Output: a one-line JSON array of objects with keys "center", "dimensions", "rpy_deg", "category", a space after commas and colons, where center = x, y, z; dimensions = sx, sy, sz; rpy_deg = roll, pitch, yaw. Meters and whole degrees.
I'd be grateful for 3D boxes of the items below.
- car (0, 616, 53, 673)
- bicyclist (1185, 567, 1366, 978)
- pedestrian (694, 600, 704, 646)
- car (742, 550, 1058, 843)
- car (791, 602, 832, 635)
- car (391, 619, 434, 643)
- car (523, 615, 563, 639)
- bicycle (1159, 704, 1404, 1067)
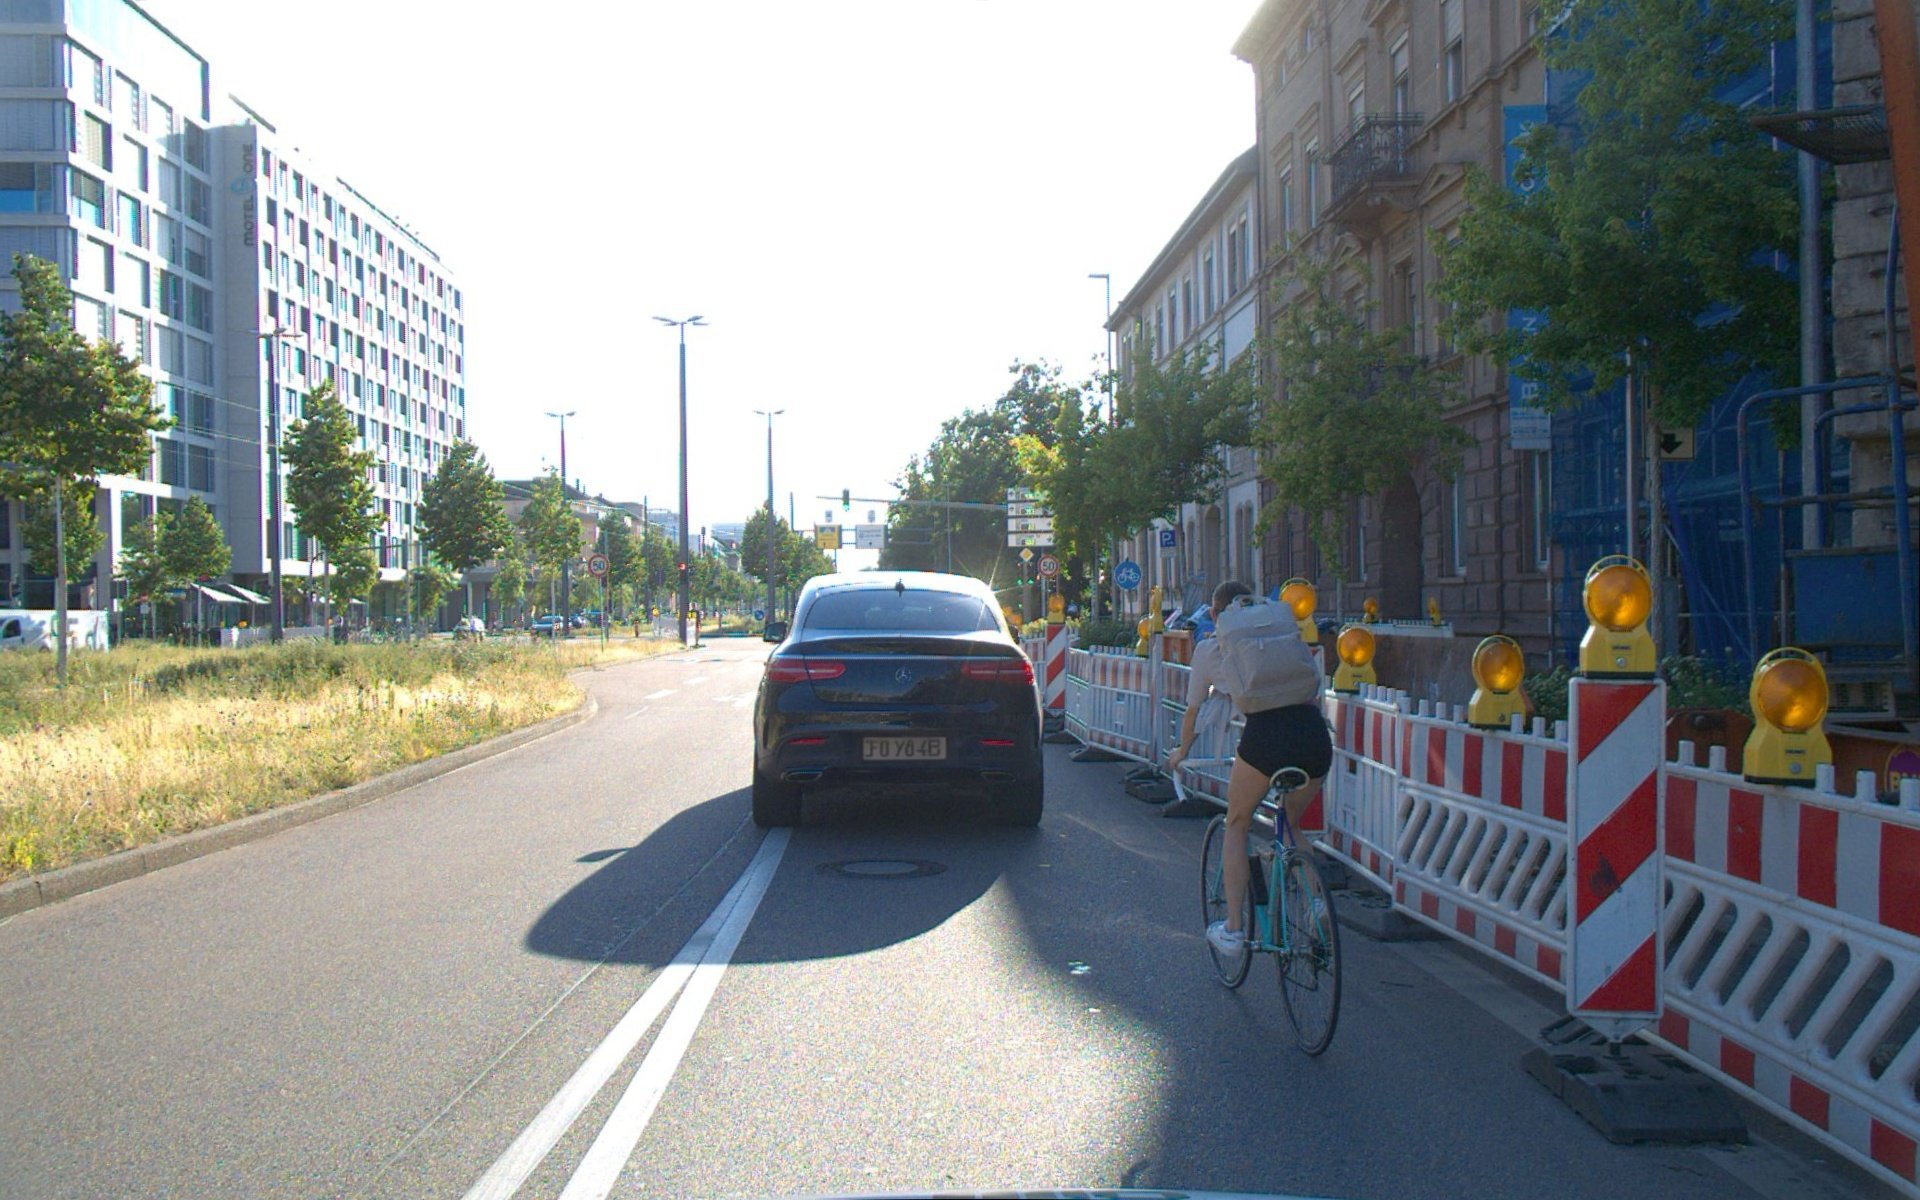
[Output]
[{"center": [-30.553, 1.388, 52.169], "dimensions": [1.753, 1.713, 3.639], "rpy_deg": [0, 0, 3], "category": "car"}, {"center": [1.137, 0.600, 6.044], "dimensions": [0.512, 1.420, 0.614], "rpy_deg": [1, -1, -3], "category": "bicyclist"}, {"center": [-10.199, 0.885, 64.664], "dimensions": [0.327, 1.794, 0.418], "rpy_deg": [1, -1, -3], "category": "pedestrian"}, {"center": [-0.377, 0.612, 12.296], "dimensions": [1.953, 1.803, 3.999], "rpy_deg": [1, 0, 0], "category": "car"}, {"center": [-6.757, 0.827, 75.701], "dimensions": [1.674, 1.467, 3.581], "rpy_deg": [0, 0, -2], "category": "car"}, {"center": [-35.498, 2.002, 107.259], "dimensions": [1.674, 1.467, 3.581], "rpy_deg": [1, 0, -2], "category": "car"}, {"center": [-26.294, 1.682, 104.351], "dimensions": [1.674, 1.467, 3.581], "rpy_deg": [1, 0, -2], "category": "car"}, {"center": [1.144, 0.976, 6.210], "dimensions": [0.502, 1.070, 1.724], "rpy_deg": [1, 0, -3], "category": "bicycle"}]
